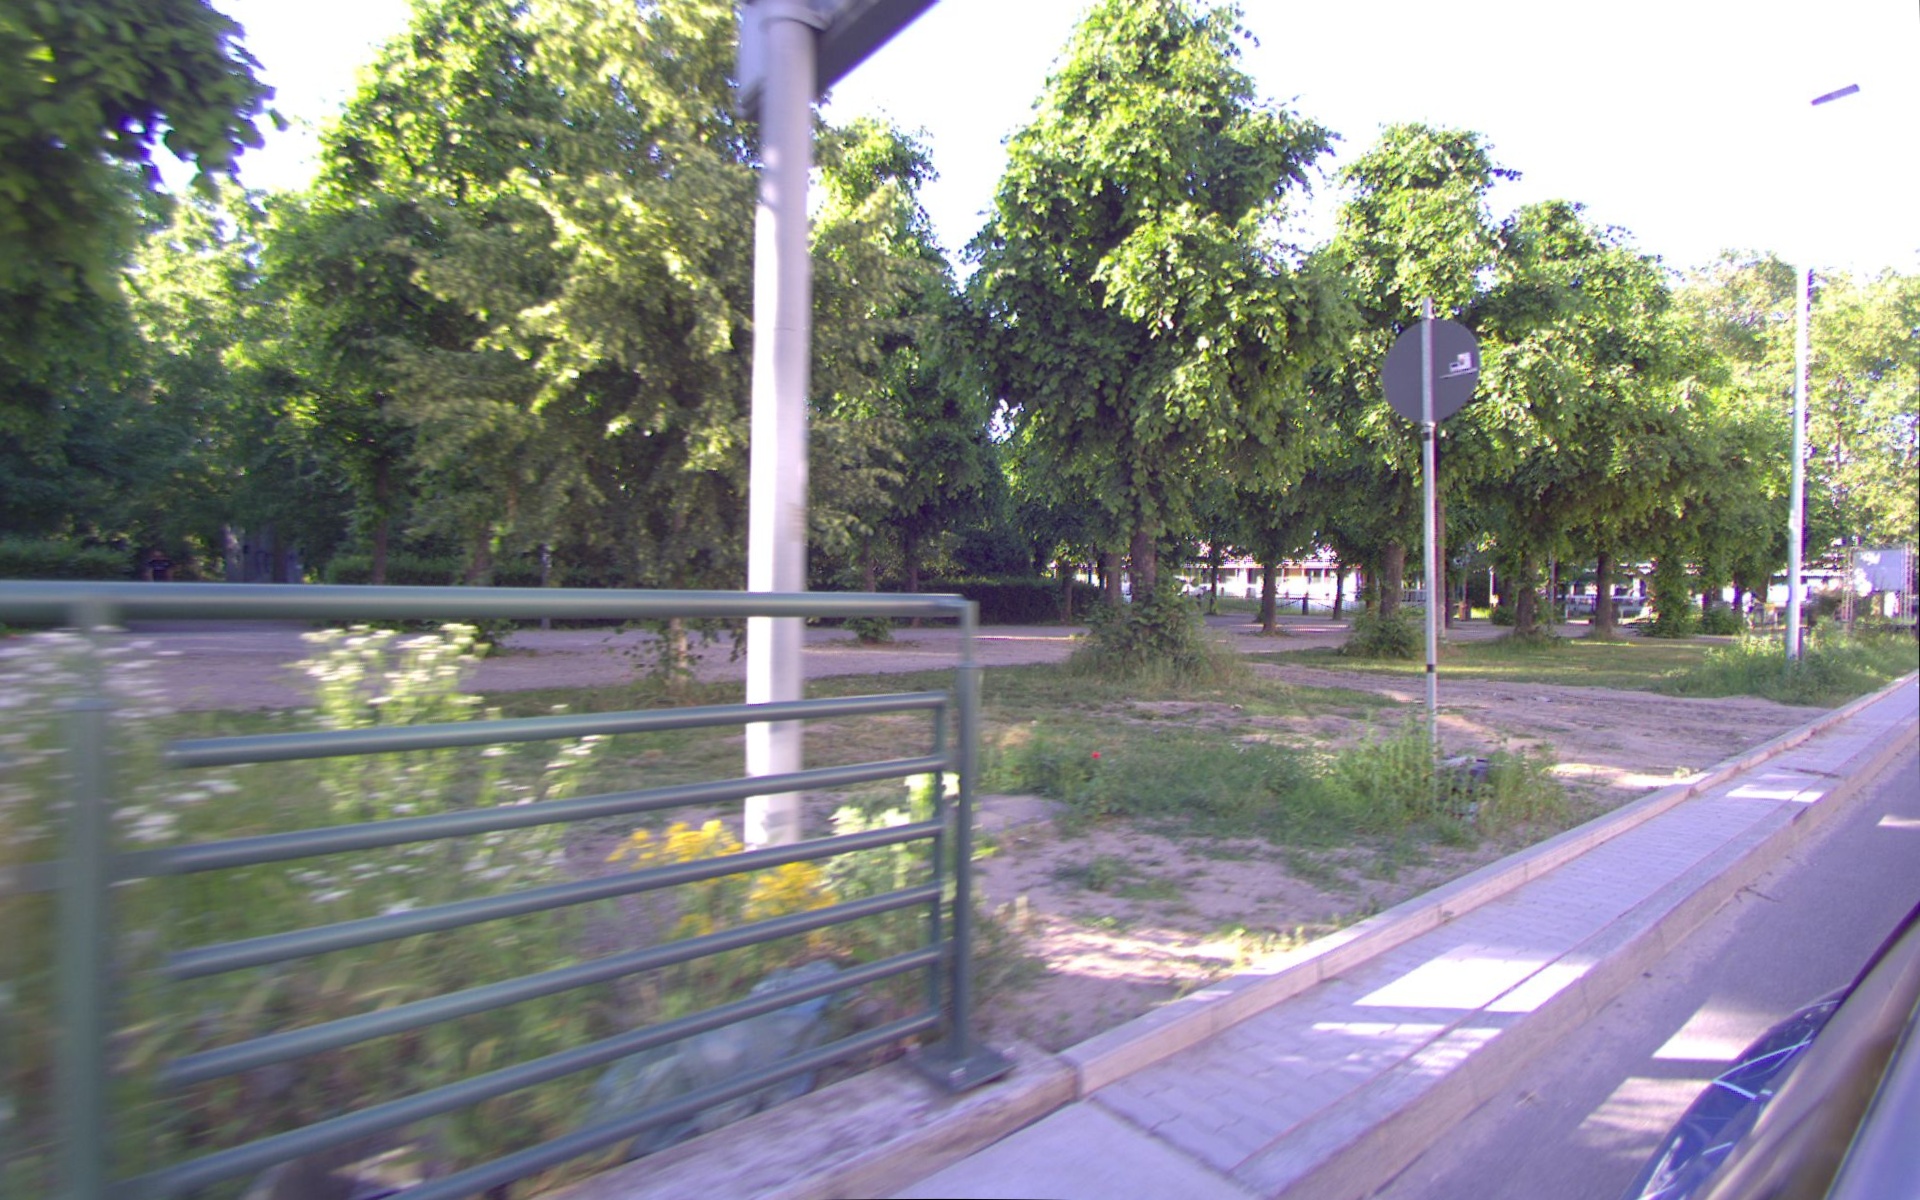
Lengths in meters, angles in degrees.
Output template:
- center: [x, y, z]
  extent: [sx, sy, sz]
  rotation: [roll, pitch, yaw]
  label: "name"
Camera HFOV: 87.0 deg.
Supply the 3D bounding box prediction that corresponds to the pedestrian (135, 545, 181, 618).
- center: [-20.678, -0.478, 26.087]
  extent: [0.861, 1.824, 0.864]
  rotation: [1, 1, -43]
  label: "pedestrian"
